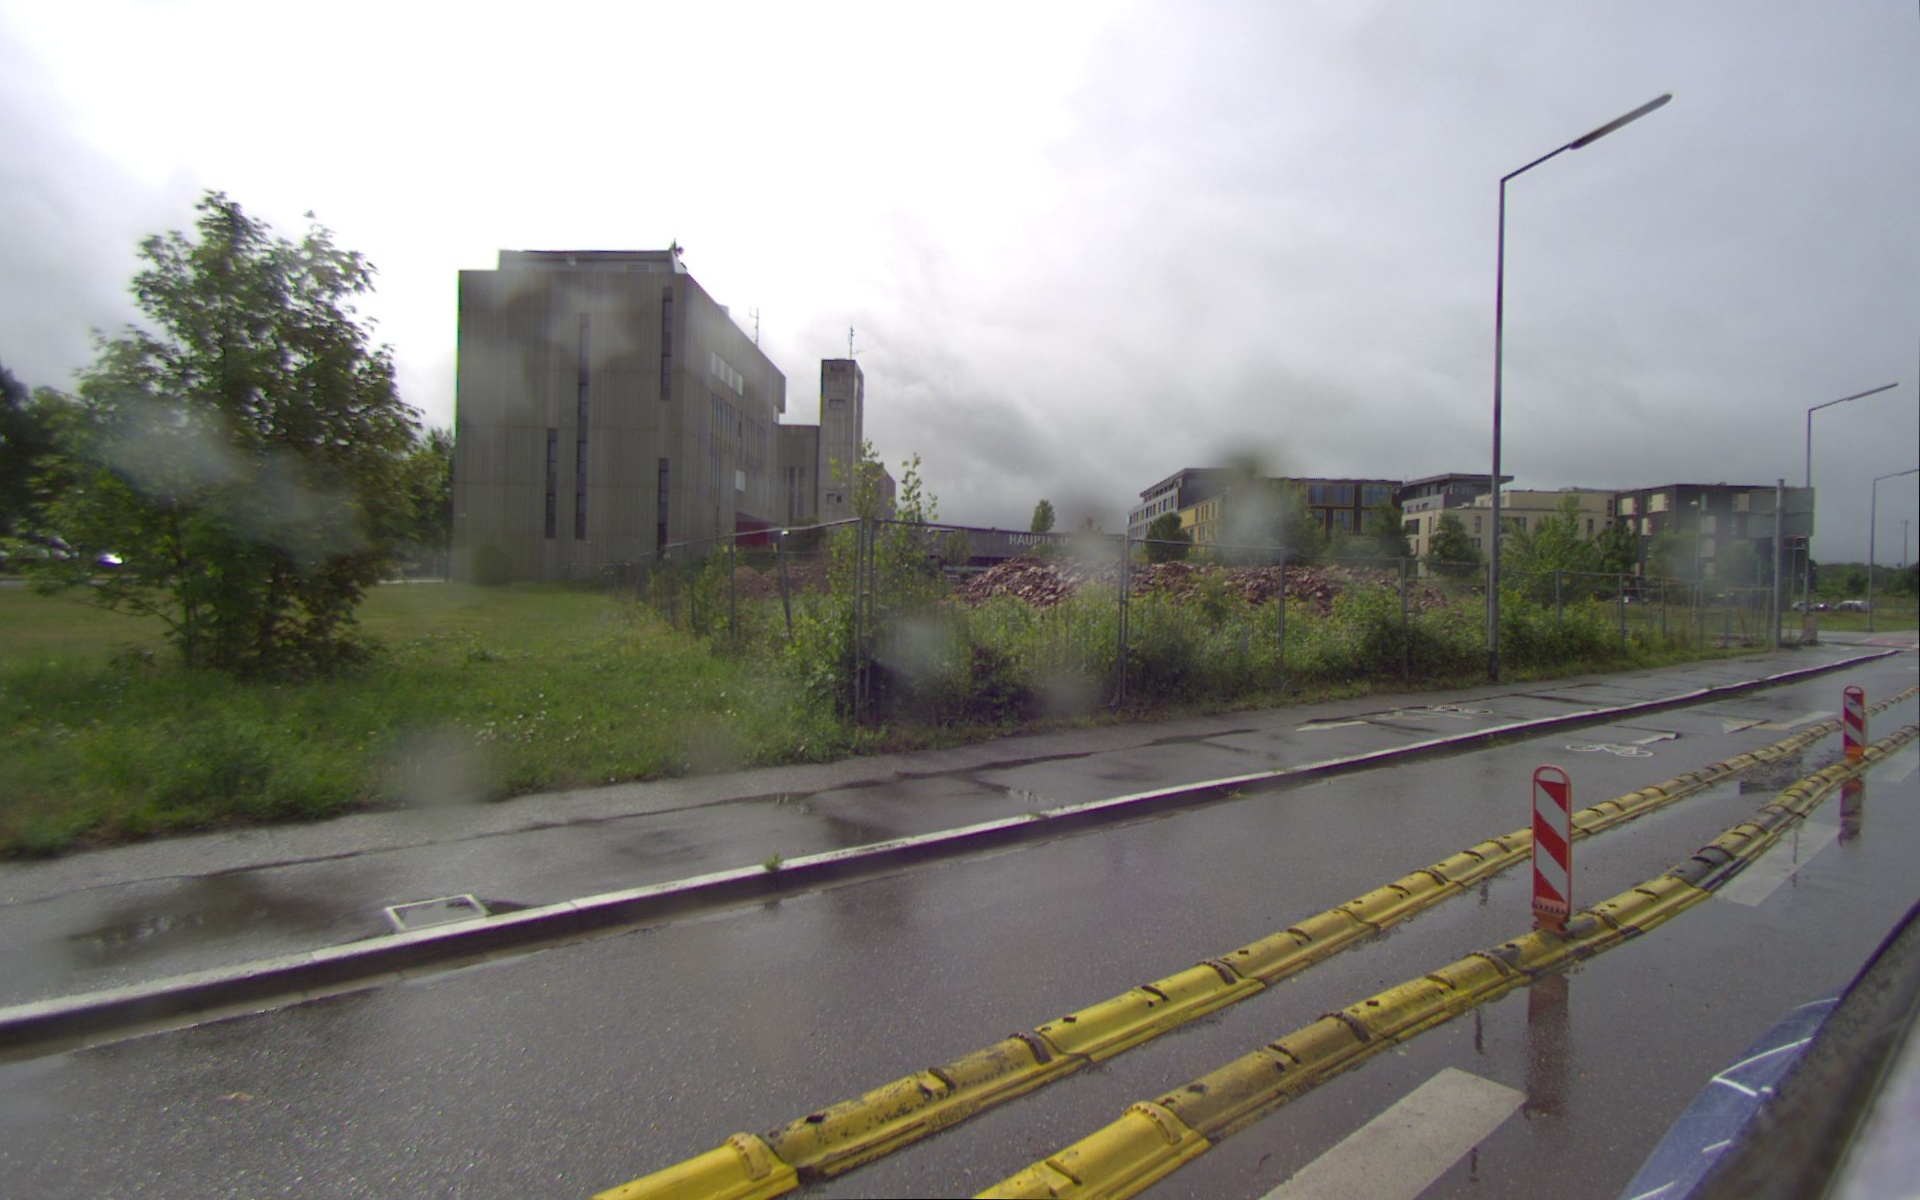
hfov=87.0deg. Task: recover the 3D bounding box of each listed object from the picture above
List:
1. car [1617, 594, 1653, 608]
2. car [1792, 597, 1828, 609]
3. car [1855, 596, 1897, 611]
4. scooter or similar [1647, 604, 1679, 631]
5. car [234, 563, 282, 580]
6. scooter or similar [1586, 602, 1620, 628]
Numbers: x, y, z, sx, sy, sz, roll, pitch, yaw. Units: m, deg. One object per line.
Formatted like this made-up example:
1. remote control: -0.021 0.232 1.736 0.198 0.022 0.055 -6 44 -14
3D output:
1. car: 80.368 0.071 120.484 3.591 1.603 1.652 1 0 -18
2. car: 118.838 0.420 141.513 3.590 1.631 1.596 1 0 9
3. car: 129.377 0.431 142.891 3.930 2.039 1.997 1 0 6
4. scooter or similar: 31.556 0.762 45.435 0.473 1.164 1.197 1 1 -8
5. car: -66.651 -2.720 96.162 1.515 1.578 4.233 1 1 3
6. scooter or similar: 30.587 0.701 48.135 0.731 1.164 1.197 1 1 -8
